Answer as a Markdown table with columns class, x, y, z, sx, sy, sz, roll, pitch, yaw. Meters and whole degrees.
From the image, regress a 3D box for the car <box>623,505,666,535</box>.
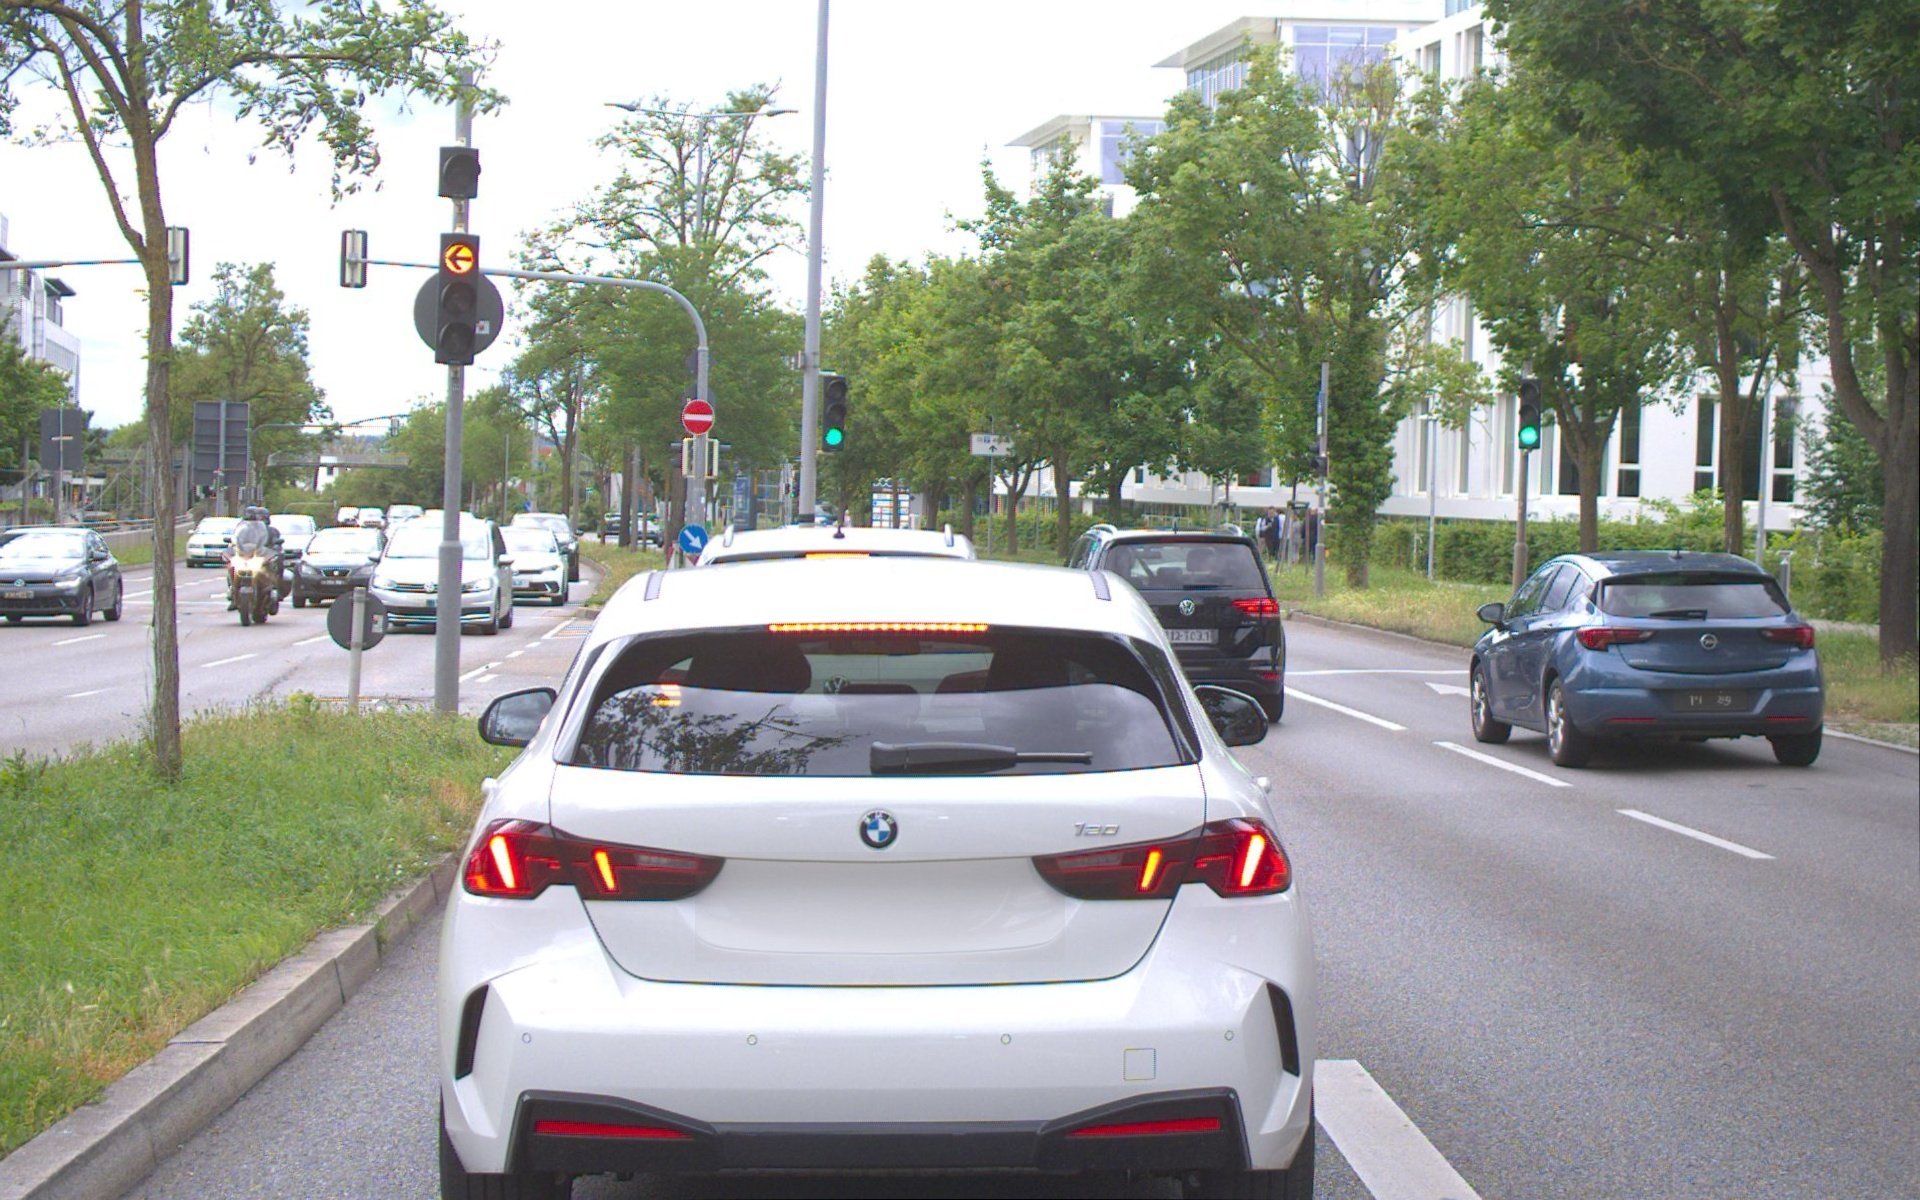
| class | x | y | z | sx | sy | sz | roll | pitch | yaw |
| --- | --- | --- | --- | --- | --- | --- | --- | --- | --- |
| car | -16.215 | -4.098 | 176.574 | 1.993 | 1.503 | 4.001 | 1 | 1 | -8 |

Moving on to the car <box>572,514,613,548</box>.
| class | x | y | z | sx | sy | sz | roll | pitch | yaw |
| --- | --- | --- | --- | --- | --- | --- | --- | --- | --- |
| car | -22.077 | -4.133 | 206.630 | 1.993 | 2.007 | 4.000 | 1 | 1 | -1 |

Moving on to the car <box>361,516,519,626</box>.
| class | x | y | z | sx | sy | sz | roll | pitch | yaw |
| --- | --- | --- | --- | --- | --- | --- | --- | --- | --- |
| car | -7.335 | -0.436 | 48.776 | 1.708 | 1.492 | 3.803 | 0 | 1 | -1 |

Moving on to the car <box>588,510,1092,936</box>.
| class | x | y | z | sx | sy | sz | roll | pitch | yaw |
| --- | --- | --- | --- | --- | --- | --- | --- | --- | --- |
| car | -0.478 | 0.473 | 15.844 | 1.993 | 1.666 | 4.000 | 1 | 1 | 0 |

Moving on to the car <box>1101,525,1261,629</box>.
| class | x | y | z | sx | sy | sz | roll | pitch | yaw |
| --- | --- | --- | --- | --- | --- | --- | --- | --- | --- |
| car | 3.330 | -0.367 | 52.724 | 1.793 | 1.467 | 4.700 | 1 | 1 | -4 |

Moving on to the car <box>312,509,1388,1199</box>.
| class | x | y | z | sx | sy | sz | roll | pitch | yaw |
| --- | --- | --- | --- | --- | --- | --- | --- | --- | --- |
| car | -0.138 | 0.562 | 8.027 | 1.863 | 1.444 | 4.000 | 1 | 1 | 2 |

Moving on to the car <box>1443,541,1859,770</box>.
| class | x | y | z | sx | sy | sz | roll | pitch | yaw |
| --- | --- | --- | --- | --- | --- | --- | --- | --- | --- |
| car | 4.770 | 0.323 | 24.368 | 1.967 | 1.434 | 4.313 | -1 | 1 | -2 |

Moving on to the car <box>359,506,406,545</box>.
| class | x | y | z | sx | sy | sz | roll | pitch | yaw |
| --- | --- | --- | --- | --- | --- | --- | --- | --- | --- |
| car | -31.146 | -4.028 | 185.543 | 1.993 | 2.004 | 4.325 | 1 | 1 | -3 |

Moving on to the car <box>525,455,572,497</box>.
| class | x | y | z | sx | sy | sz | roll | pitch | yaw |
| --- | --- | --- | --- | --- | --- | --- | --- | --- | --- |
| car | -20.831 | -6.276 | 174.248 | 1.993 | 2.004 | 4.325 | 3 | 1 | -3 |

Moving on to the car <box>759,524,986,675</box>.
| class | x | y | z | sx | sy | sz | roll | pitch | yaw |
| --- | --- | --- | --- | --- | --- | --- | --- | --- | --- |
| car | -0.882 | -0.027 | 37.139 | 1.994 | 1.503 | 3.999 | 1 | 1 | 5 |

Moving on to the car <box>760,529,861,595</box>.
| class | x | y | z | sx | sy | sz | roll | pitch | yaw |
| --- | --- | --- | --- | --- | --- | --- | --- | --- | --- |
| car | -3.812 | -0.990 | 87.036 | 2.053 | 1.481 | 4.974 | -3 | 2 | -7 |

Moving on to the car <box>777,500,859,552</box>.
| class | x | y | z | sx | sy | sz | roll | pitch | yaw |
| --- | --- | --- | --- | --- | --- | --- | --- | --- | --- |
| car | -4.599 | -2.395 | 110.932 | 1.993 | 1.590 | 4.001 | 1 | 1 | -12 |

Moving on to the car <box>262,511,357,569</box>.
| class | x | y | z | sx | sy | sz | roll | pitch | yaw |
| --- | --- | --- | --- | --- | --- | --- | --- | --- | --- |
| car | -16.316 | -1.509 | 86.355 | 1.708 | 1.414 | 3.803 | 0 | 1 | -1 |

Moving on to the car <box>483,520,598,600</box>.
| class | x | y | z | sx | sy | sz | roll | pitch | yaw |
| --- | --- | --- | --- | --- | --- | --- | --- | --- | --- |
| car | -7.748 | -0.758 | 63.745 | 1.667 | 1.400 | 4.000 | 1 | 1 | -1 |

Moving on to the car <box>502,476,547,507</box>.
| class | x | y | z | sx | sy | sz | roll | pitch | yaw |
| --- | --- | --- | --- | --- | --- | --- | --- | --- | --- |
| car | -24.221 | -6.025 | 191.351 | 1.993 | 1.612 | 4.000 | 3 | 1 | -1 |

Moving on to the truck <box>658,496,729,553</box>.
| class | x | y | z | sx | sy | sz | roll | pitch | yaw |
| --- | --- | --- | --- | --- | --- | --- | --- | --- | --- |
| truck | -12.479 | -3.489 | 160.375 | 2.858 | 2.511 | 6.289 | 1 | 1 | -8 |

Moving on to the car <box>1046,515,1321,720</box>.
| class | x | y | z | sx | sy | sz | roll | pitch | yaw |
| --- | --- | --- | --- | --- | --- | --- | --- | --- | --- |
| car | 1.841 | 0.095 | 29.638 | 1.966 | 1.635 | 4.313 | 0 | 1 | -2 |

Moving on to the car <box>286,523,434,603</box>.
| class | x | y | z | sx | sy | sz | roll | pitch | yaw |
| --- | --- | --- | --- | --- | --- | --- | --- | --- | --- |
| car | -10.757 | -0.693 | 61.887 | 1.993 | 1.349 | 4.000 | 1 | 1 | -1 |

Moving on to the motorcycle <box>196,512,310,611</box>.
| class | x | y | z | sx | sy | sz | roll | pitch | yaw |
| --- | --- | --- | --- | --- | --- | --- | --- | --- | --- |
| motorcycle | -10.429 | -0.583 | 50.862 | 0.889 | 1.393 | 4.000 | 1 | 1 | -1 |

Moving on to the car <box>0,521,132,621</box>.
| class | x | y | z | sx | sy | sz | roll | pitch | yaw |
| --- | --- | --- | --- | --- | --- | --- | --- | --- | --- |
| car | -13.554 | -0.455 | 50.909 | 1.708 | 1.414 | 3.803 | 0 | 1 | -1 |

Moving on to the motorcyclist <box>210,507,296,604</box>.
| class | x | y | z | sx | sy | sz | roll | pitch | yaw |
| --- | --- | --- | --- | --- | --- | --- | --- | --- | --- |
| motorcyclist | -10.424 | -0.668 | 50.717 | 0.910 | 1.387 | 1.674 | 1 | 1 | -1 |
